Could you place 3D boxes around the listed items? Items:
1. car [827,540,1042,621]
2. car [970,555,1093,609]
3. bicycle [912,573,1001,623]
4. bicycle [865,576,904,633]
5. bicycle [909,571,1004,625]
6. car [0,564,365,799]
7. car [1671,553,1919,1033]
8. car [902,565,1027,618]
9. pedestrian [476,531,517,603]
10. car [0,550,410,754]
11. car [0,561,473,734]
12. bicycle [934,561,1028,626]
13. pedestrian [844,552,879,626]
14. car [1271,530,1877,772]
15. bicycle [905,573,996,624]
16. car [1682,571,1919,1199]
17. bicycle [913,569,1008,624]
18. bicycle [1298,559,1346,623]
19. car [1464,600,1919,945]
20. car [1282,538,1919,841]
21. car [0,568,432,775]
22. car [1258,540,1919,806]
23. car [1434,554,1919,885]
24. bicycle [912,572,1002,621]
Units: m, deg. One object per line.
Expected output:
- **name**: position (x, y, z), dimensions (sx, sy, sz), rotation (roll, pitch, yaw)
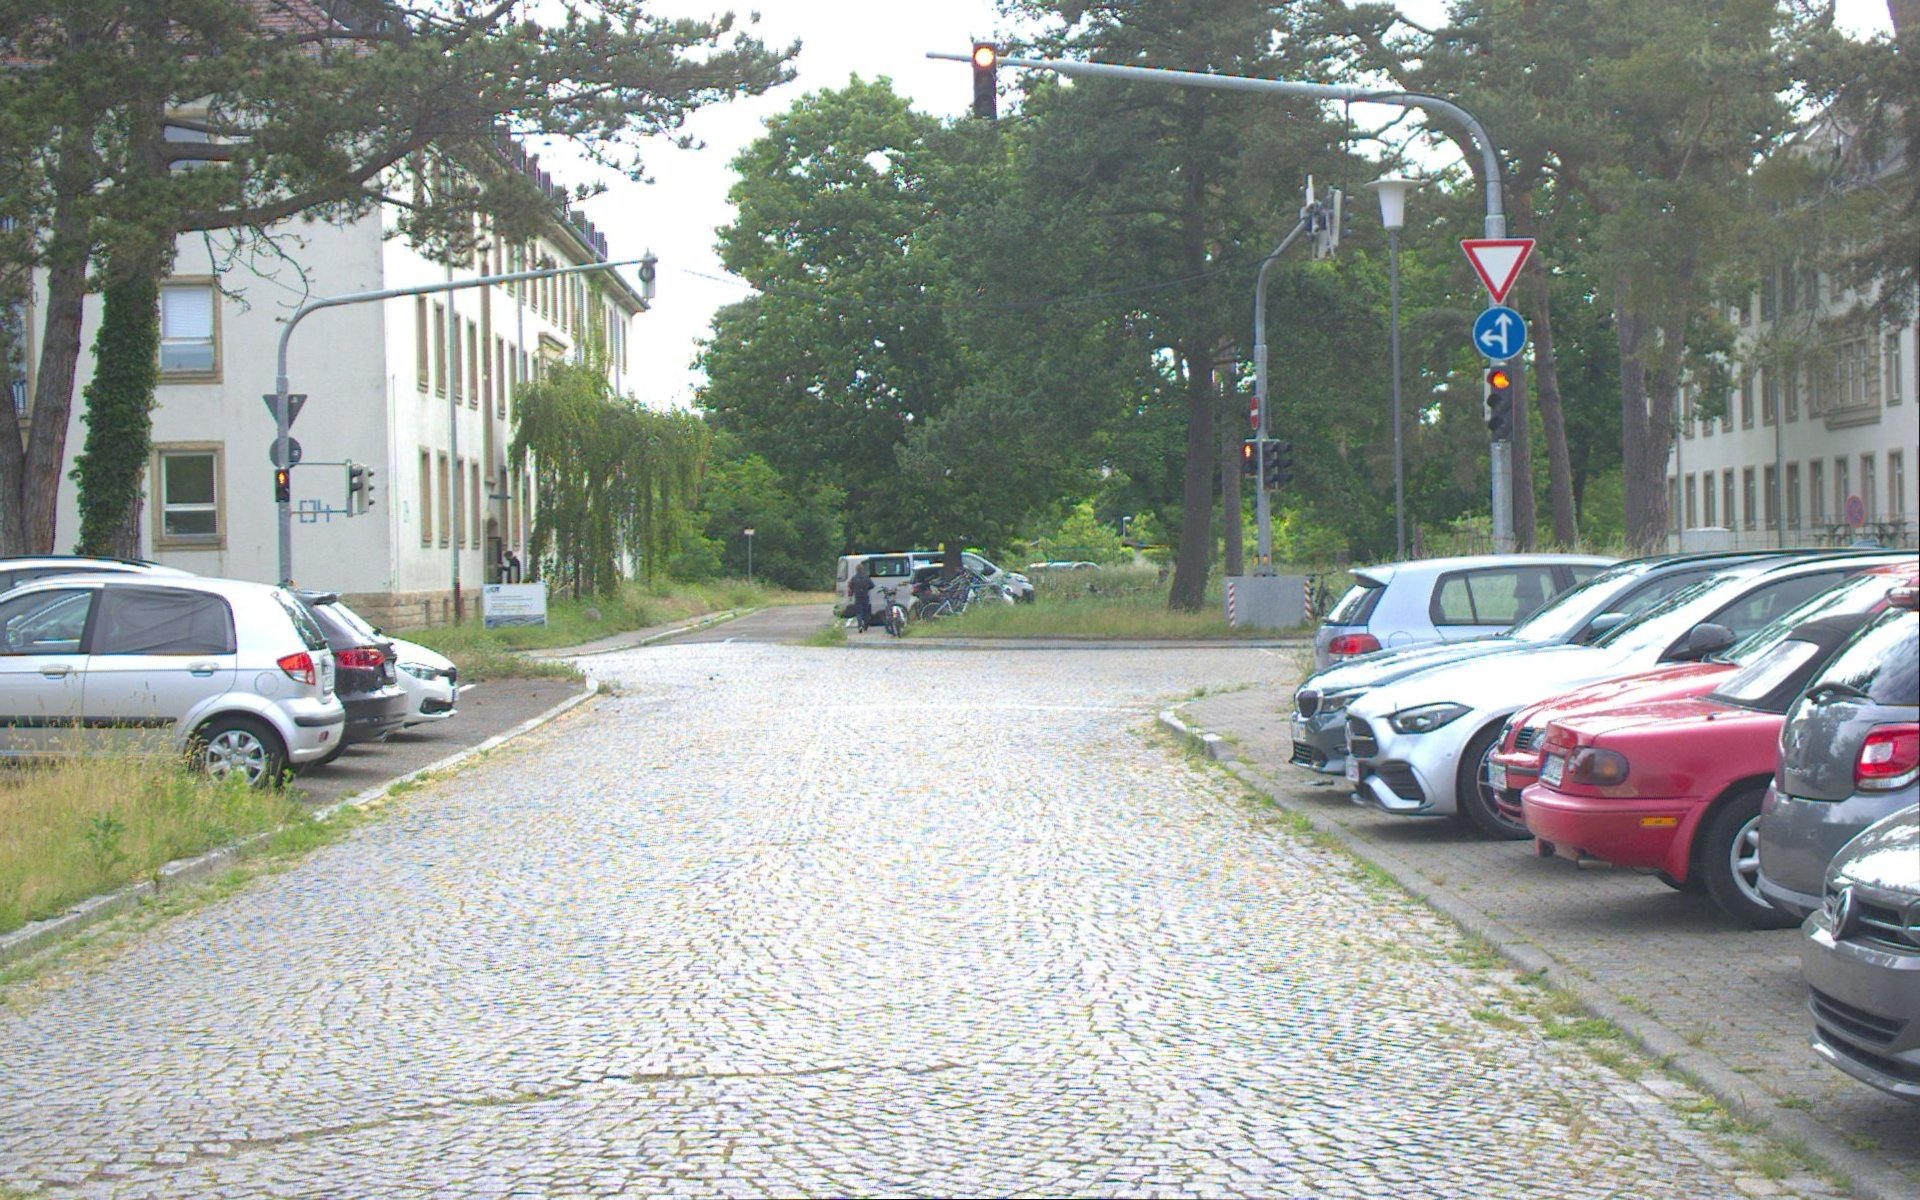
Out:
- **car**: position (-0.699, -0.525, 91.143), dimensions (5.359, 1.918, 2.025), rotation (-2, 1, -10)
- **car**: position (1.967, -0.494, 95.049), dimensions (3.231, 1.411, 1.725), rotation (-1, 1, -3)
- **bicycle**: position (-0.075, -0.057, 76.532), dimensions (1.955, 1.066, 0.588), rotation (-1, 1, -30)
- **bicycle**: position (-1.544, 0.089, 69.856), dimensions (0.603, 1.129, 1.962), rotation (-1, 1, -7)
- **bicycle**: position (-0.069, -0.051, 73.699), dimensions (1.954, 1.113, 0.588), rotation (-1, 1, -7)
- **car**: position (-6.014, 0.513, 23.356), dimensions (3.702, 1.474, 1.583), rotation (2, 0, -4)
- **car**: position (4.589, 0.526, 11.742), dimensions (3.862, 1.467, 1.758), rotation (-3, 1, -2)
- **car**: position (0.100, -0.224, 87.773), dimensions (3.005, 1.264, 1.535), rotation (-1, 1, -6)
- **pedestrian**: position (-11.966, -0.842, 88.687), dimensions (0.774, 1.831, 0.741), rotation (-1, 1, -32)
- **car**: position (-6.684, 0.407, 28.727), dimensions (3.947, 1.558, 1.650), rotation (2, 0, -4)
- **car**: position (-6.529, 0.417, 31.271), dimensions (3.947, 1.417, 1.650), rotation (2, 0, -1)
- **bicycle**: position (0.456, -0.148, 74.534), dimensions (1.954, 1.379, 0.588), rotation (-1, 1, -7)
- **pedestrian**: position (-2.189, -0.250, 76.274), dimensions (0.738, 1.613, 0.776), rotation (-1, 0, -3)
- **car**: position (4.258, 0.337, 24.257), dimensions (3.927, 1.472, 1.642), rotation (-3, 1, 1)
- **bicycle**: position (-0.202, -0.042, 75.181), dimensions (1.955, 1.066, 0.588), rotation (-1, 1, -30)
- **car**: position (4.039, 0.602, 8.865), dimensions (3.862, 1.467, 1.758), rotation (-3, 1, -4)
- **bicycle**: position (0.005, -0.069, 73.066), dimensions (1.954, 1.129, 0.588), rotation (-1, 1, -7)
- **bicycle**: position (6.417, -0.163, 61.012), dimensions (0.586, 1.102, 1.961), rotation (-1, 1, -1)
- **car**: position (4.218, 0.632, 14.407), dimensions (3.862, 1.232, 1.758), rotation (-3, 1, -2)
- **car**: position (4.209, 0.429, 19.118), dimensions (4.421, 1.412, 1.871), rotation (-3, 1, -10)
- **car**: position (-5.962, 0.514, 25.955), dimensions (3.745, 1.424, 1.583), rotation (2, 0, -4)
- **car**: position (4.379, 0.416, 21.807), dimensions (4.680, 1.412, 1.871), rotation (-3, 1, -3)
- **car**: position (4.622, 0.500, 16.854), dimensions (4.261, 1.412, 1.871), rotation (-3, 1, -1)
- **bicycle**: position (-0.074, -0.085, 77.887), dimensions (1.955, 1.066, 0.588), rotation (-1, 1, -25)
